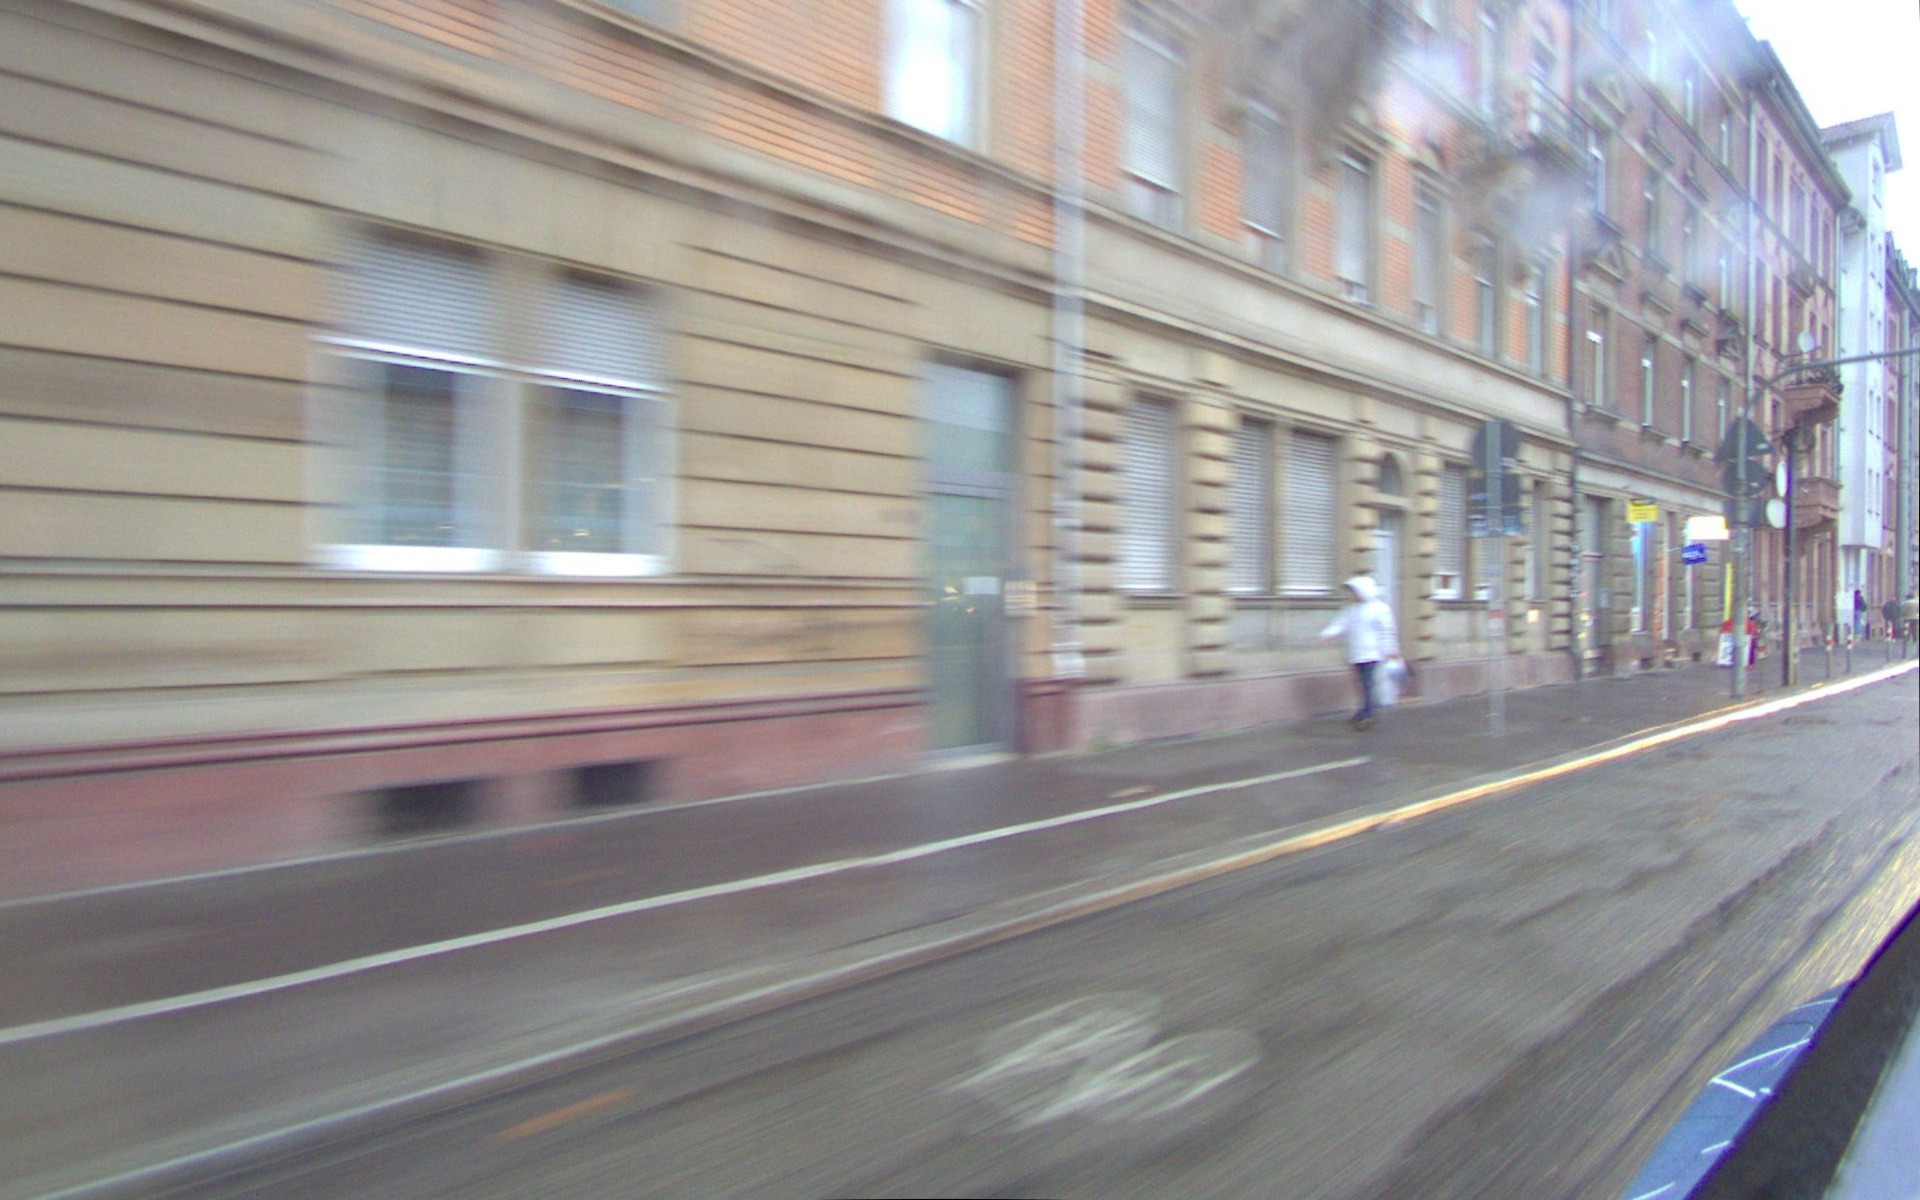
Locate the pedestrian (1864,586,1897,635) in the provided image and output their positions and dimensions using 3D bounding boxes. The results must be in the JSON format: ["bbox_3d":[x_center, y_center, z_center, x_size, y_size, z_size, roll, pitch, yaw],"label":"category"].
[{"bbox_3d":[33.494,0.373,36.831,0.661,1.766,0.777,0,1,-40],"label":"pedestrian"}]

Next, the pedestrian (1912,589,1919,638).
[{"bbox_3d":[35.074,0.502,36.662,0.661,1.766,0.777,0,1,-40],"label":"pedestrian"}]

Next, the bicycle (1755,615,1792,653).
[{"bbox_3d":[20.622,0.849,25.638,1.834,0.922,0.398,0,0,-41],"label":"bicycle"}]

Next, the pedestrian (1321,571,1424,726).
[{"bbox_3d":[4.522,0.503,11.109,0.728,1.617,0.788,0,0,-37],"label":"pedestrian"}]

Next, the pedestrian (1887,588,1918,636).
[{"bbox_3d":[35.462,0.438,38.084,0.661,1.766,0.777,0,1,-40],"label":"pedestrian"}]
